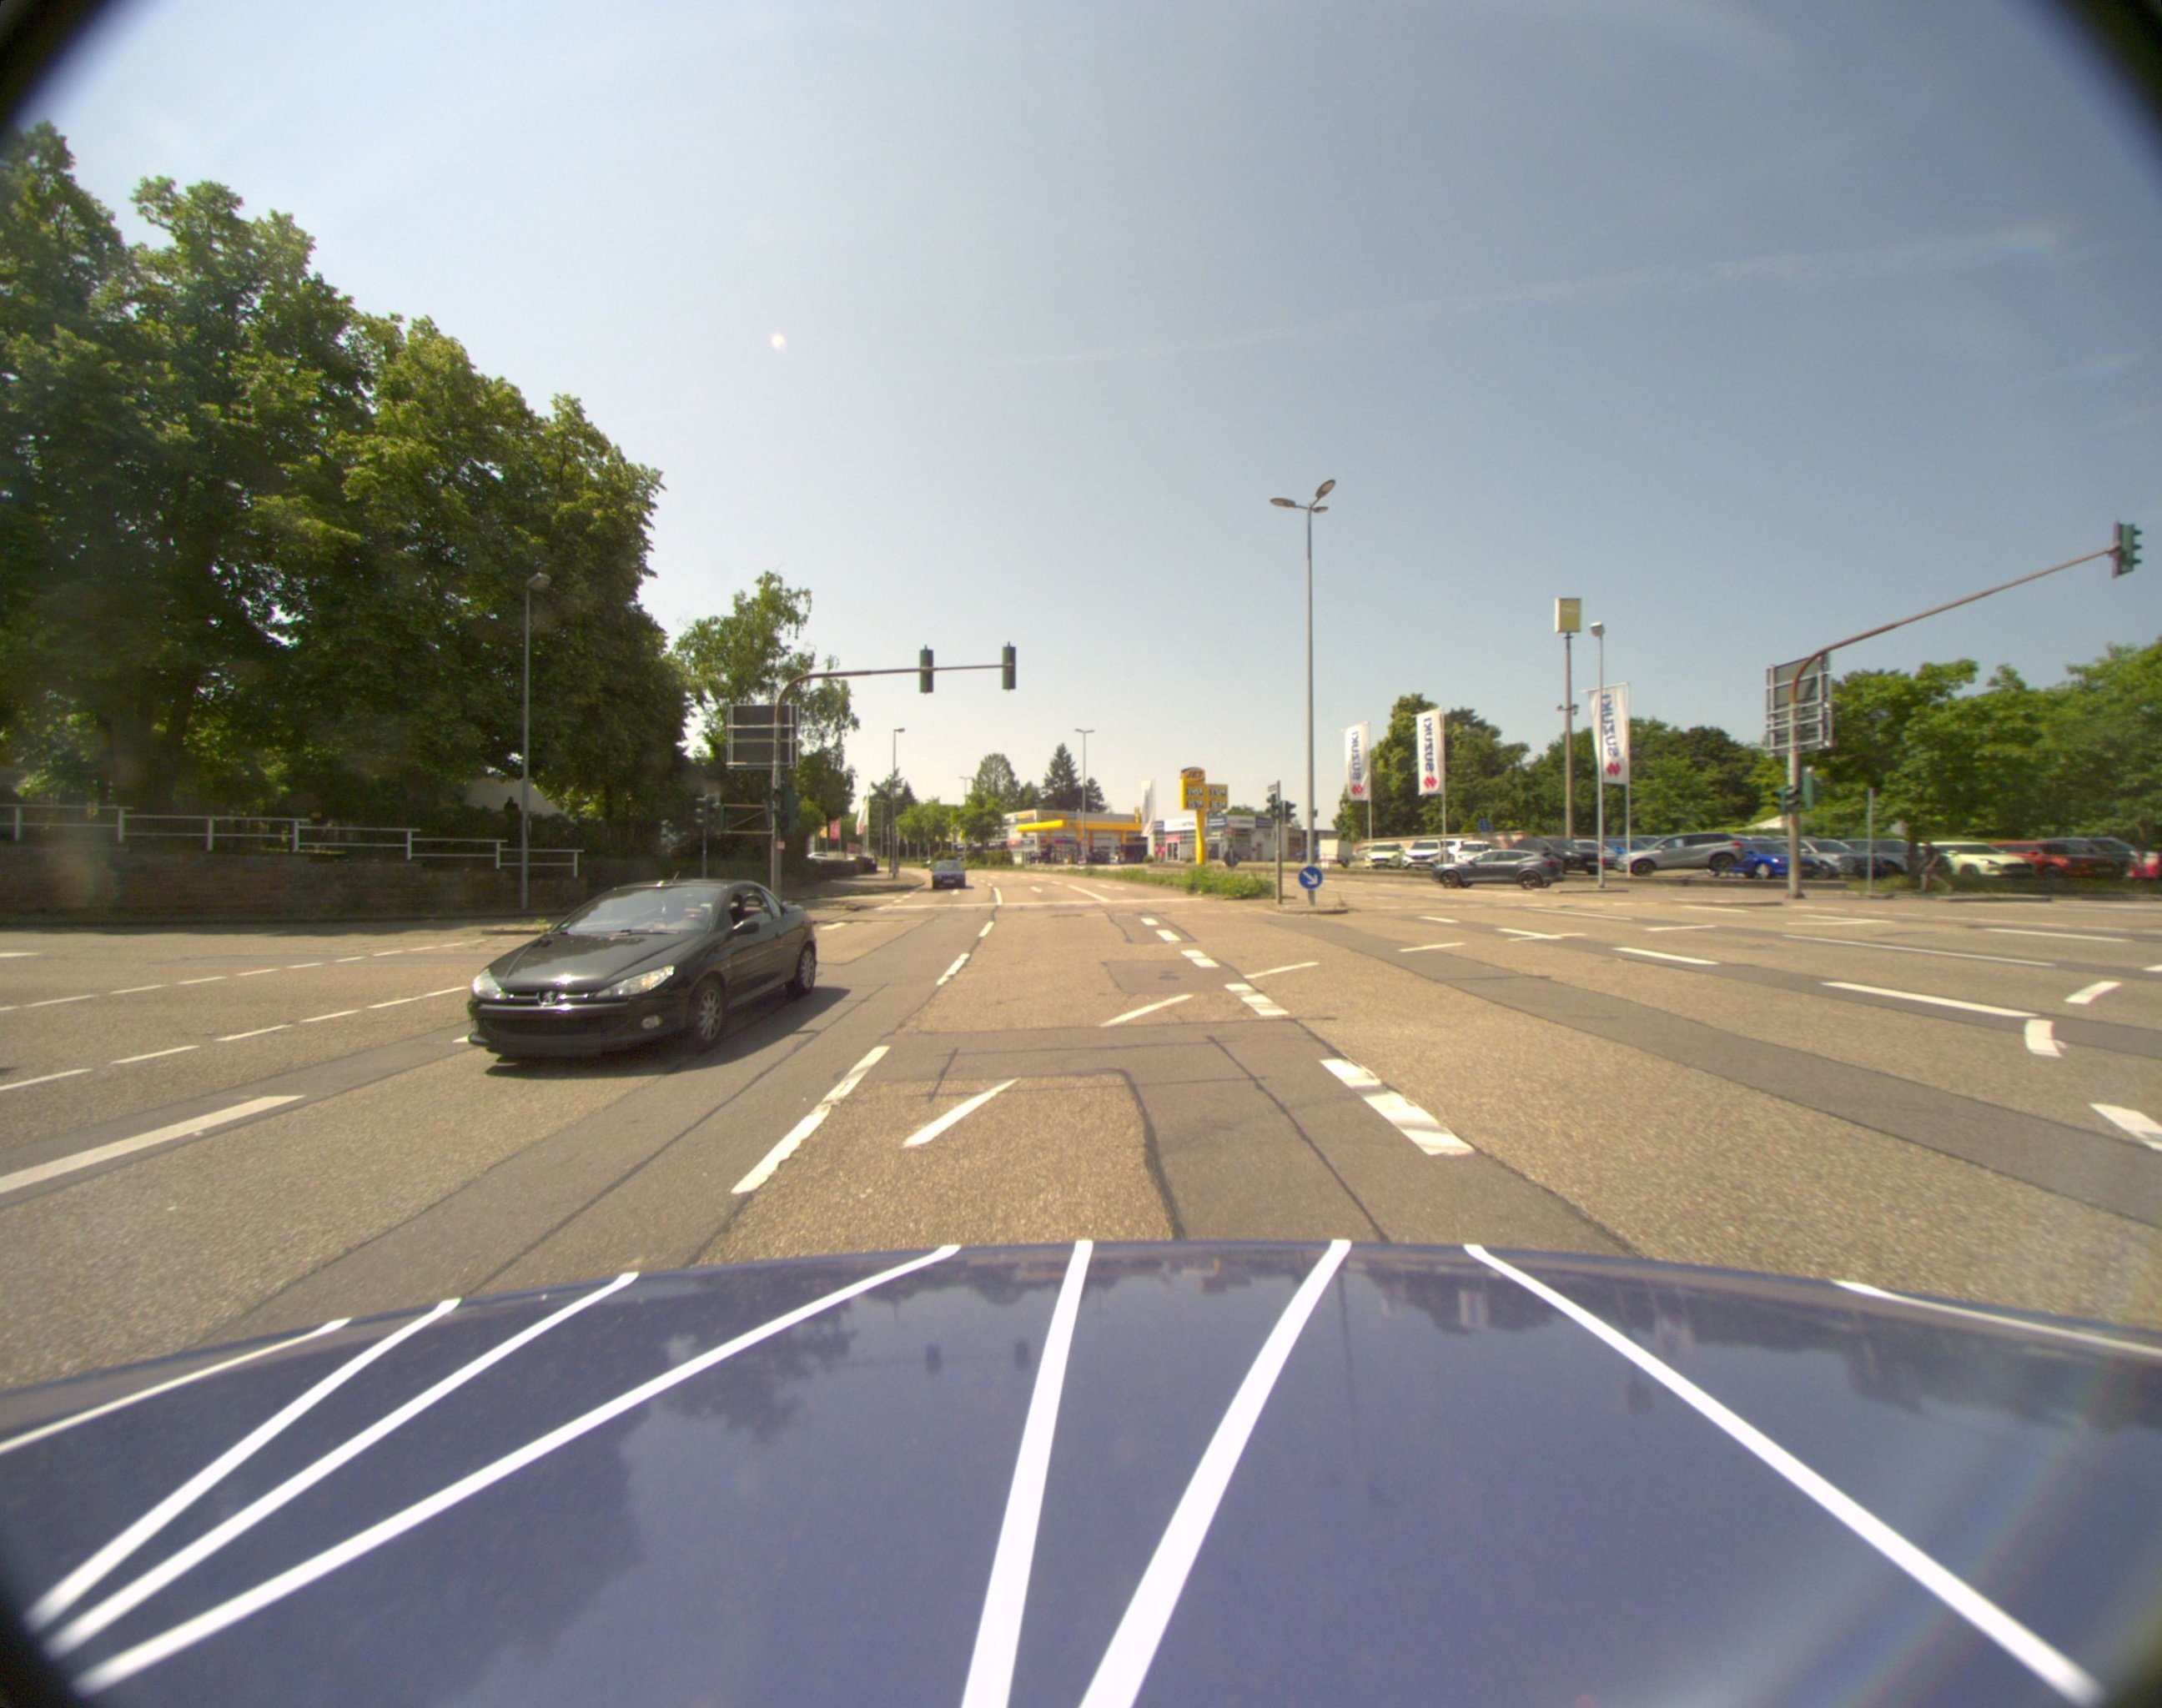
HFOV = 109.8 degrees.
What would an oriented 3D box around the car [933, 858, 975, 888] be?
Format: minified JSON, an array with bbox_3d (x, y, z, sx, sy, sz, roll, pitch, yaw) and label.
[{"bbox_3d":[-6.370,0.937,38.426,1.698,1.365,3.998,0,1,-4],"label":"car"}]

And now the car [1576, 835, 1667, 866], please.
[{"bbox_3d":[28.479,-0.189,40.200,1.795,1.528,3.998,-2,1,-4],"label":"car"}]

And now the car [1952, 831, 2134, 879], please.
[{"bbox_3d":[36.791,0.003,29.242,1.868,1.674,3.998,-2,1,-4],"label":"car"}]

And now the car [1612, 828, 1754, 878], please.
[{"bbox_3d":[24.328,-0.085,30.926,4.297,1.891,1.833,1,2,32],"label":"car"}]

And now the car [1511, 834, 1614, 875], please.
[{"bbox_3d":[21.571,-0.020,34.273,1.845,1.714,4.011,-1,2,-5],"label":"car"}]

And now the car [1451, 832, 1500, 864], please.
[{"bbox_3d":[19.319,-0.332,37.126,1.711,1.424,3.970,1,2,34],"label":"car"}]

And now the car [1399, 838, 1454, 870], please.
[{"bbox_3d":[18.042,-0.016,39.603,1.913,1.532,3.970,-1,1,35],"label":"car"}]

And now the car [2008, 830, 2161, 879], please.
[{"bbox_3d":[39.274,-0.022,29.351,1.999,1.740,3.998,-2,1,-4],"label":"car"}]

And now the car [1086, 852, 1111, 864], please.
[{"bbox_3d":[2.328,0.513,102.837,1.659,1.534,4.205,-2,1,-25],"label":"car"}]

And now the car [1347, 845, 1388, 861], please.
[{"bbox_3d":[27.300,-0.082,72.451,1.622,1.497,3.624,-1,0,-23],"label":"car"}]

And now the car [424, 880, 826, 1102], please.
[{"bbox_3d":[-3.808,1.021,7.163,1.604,1.416,3.661,-1,0,-1],"label":"car"}]

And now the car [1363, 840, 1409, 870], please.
[{"bbox_3d":[16.872,0.035,41.954,1.753,1.501,3.827,-1,1,30],"label":"car"}]

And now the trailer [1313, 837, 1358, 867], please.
[{"bbox_3d":[15.262,-0.133,45.618,1.689,1.694,2.439,-1,1,42],"label":"trailer"}]

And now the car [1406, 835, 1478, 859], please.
[{"bbox_3d":[26.029,-0.512,54.982,1.696,1.640,4.747,-1,0,-25],"label":"car"}]

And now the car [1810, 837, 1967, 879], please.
[{"bbox_3d":[31.994,0.123,30.298,1.841,1.561,3.998,0,1,-5],"label":"car"}]

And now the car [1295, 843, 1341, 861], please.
[{"bbox_3d":[19.957,-0.167,64.133,1.696,1.497,3.624,-1,0,-23],"label":"car"}]

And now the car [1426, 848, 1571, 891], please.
[{"bbox_3d":[15.573,0.564,28.469,4.428,1.476,2.008,0,-1,41],"label":"car"}]

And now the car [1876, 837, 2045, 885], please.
[{"bbox_3d":[34.316,0.231,29.832,1.906,1.697,3.998,-2,1,-4],"label":"car"}]

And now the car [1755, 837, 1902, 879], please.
[{"bbox_3d":[29.649,0.123,30.343,1.795,1.528,3.998,-2,1,-4],"label":"car"}]
